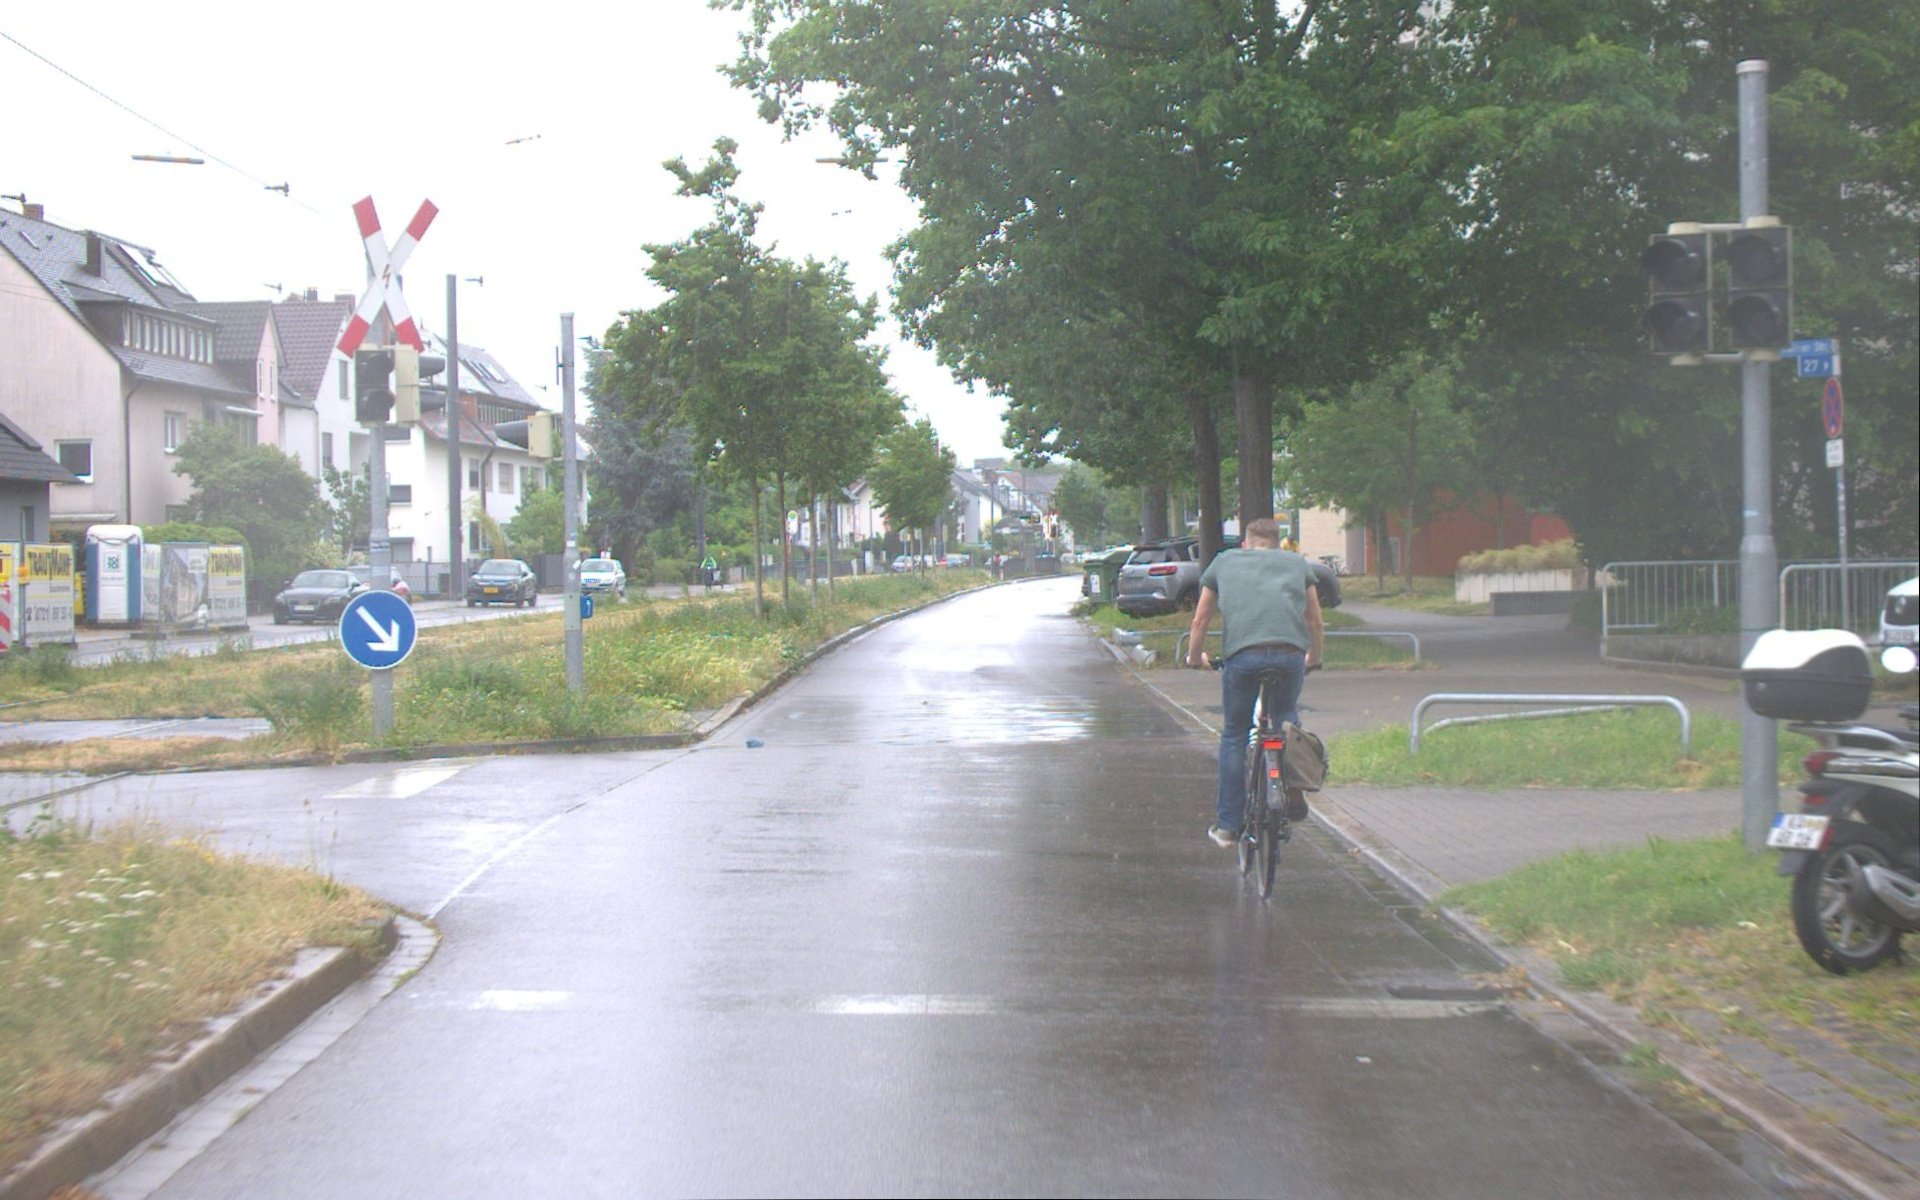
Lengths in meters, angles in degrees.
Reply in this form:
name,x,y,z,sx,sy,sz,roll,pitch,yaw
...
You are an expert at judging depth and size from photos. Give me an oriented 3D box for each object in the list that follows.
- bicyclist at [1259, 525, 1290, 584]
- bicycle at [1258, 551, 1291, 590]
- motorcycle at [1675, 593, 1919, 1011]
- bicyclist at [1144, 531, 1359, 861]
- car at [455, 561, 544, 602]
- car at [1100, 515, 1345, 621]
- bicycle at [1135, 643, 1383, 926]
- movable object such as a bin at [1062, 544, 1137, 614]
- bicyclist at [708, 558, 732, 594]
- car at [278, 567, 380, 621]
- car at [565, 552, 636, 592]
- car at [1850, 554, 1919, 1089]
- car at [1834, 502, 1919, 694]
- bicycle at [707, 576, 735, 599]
name,x,y,z,sx,sy,sz,roll,pitch,yaw
bicyclist,8.668,-1.260,94.824,0.734,1.588,0.944,-1,1,1
bicycle,8.672,-0.822,94.863,0.734,1.053,2.051,-1,1,1
motorcycle,3.414,0.657,12.155,1.774,1.332,0.689,-3,2,-36
bicyclist,1.307,0.414,15.617,0.809,1.428,1.060,-2,1,-2
car,-14.866,-0.618,111.243,1.897,1.240,4.687,1,1,4
car,4.980,-0.610,65.117,4.135,1.713,2.000,-5,2,-30
bicycle,1.319,0.791,15.684,0.809,1.093,2.517,-2,1,-2
movable object such as a bin,3.180,-0.487,78.541,1.125,1.452,1.401,-7,3,-19
bicyclist,-11.381,-1.154,163.266,1.018,1.679,1.092,-1,1,1
car,-15.633,-0.168,85.302,1.663,1.240,4.071,1,1,2
car,-13.911,-1.102,133.359,1.897,1.464,4.687,1,1,4
car,4.599,0.509,9.803,4.113,1.418,1.738,-3,2,-36
car,10.853,-0.069,32.133,4.801,1.739,2.001,-1,1,-14
bicycle,-11.355,-0.585,163.757,1.018,1.024,3.197,-1,1,1
